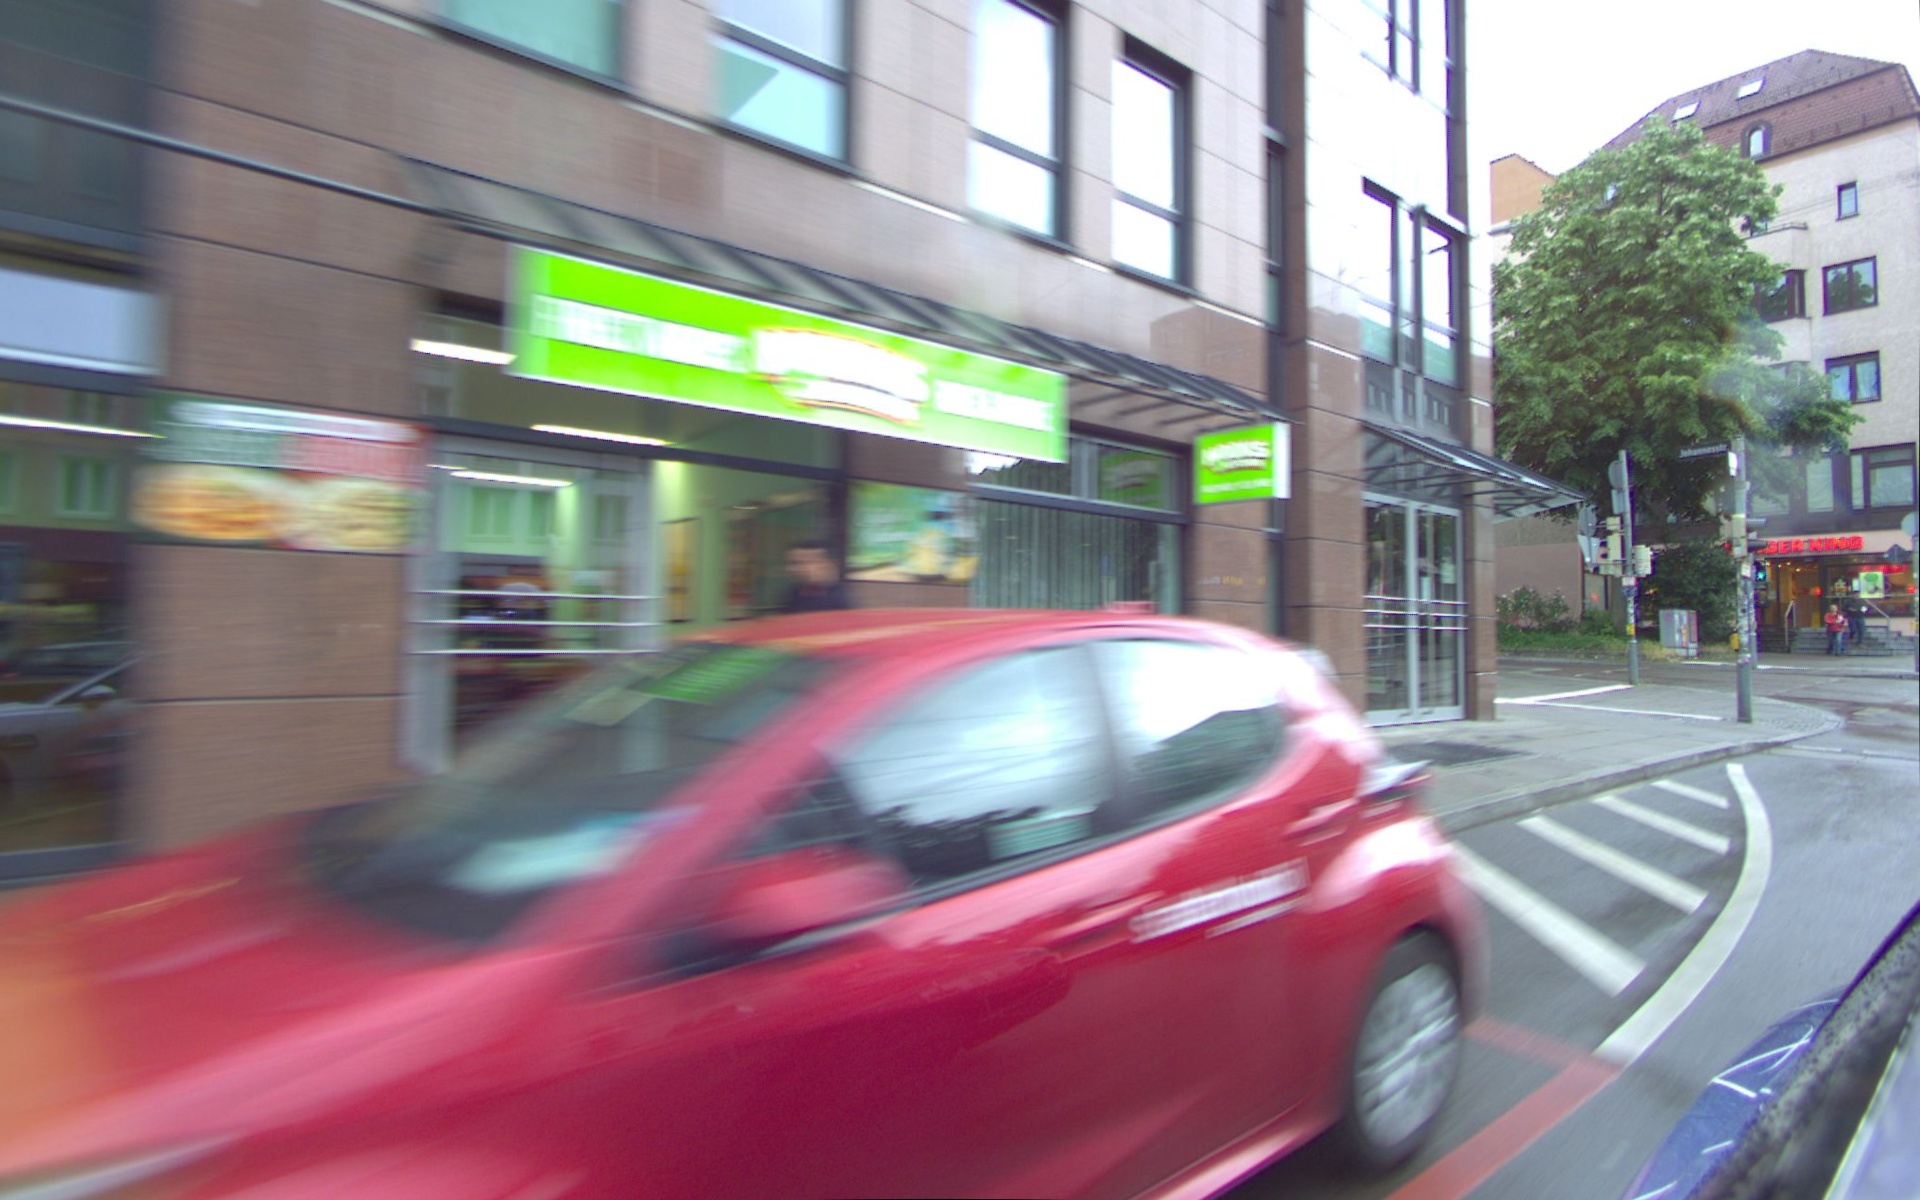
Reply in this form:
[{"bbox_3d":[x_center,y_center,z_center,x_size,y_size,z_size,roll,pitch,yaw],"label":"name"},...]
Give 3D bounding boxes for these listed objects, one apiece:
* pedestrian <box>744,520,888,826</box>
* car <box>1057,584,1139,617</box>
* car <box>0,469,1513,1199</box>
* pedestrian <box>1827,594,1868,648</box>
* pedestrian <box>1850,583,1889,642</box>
[{"bbox_3d":[-0.854,0.398,5.983,0.614,1.680,0.603,0,-1,-38],"label":"pedestrian"},{"bbox_3d":[6.473,0.037,47.399,3.802,1.480,1.676,0,-1,-40],"label":"car"},{"bbox_3d":[-0.441,0.595,2.431,3.795,1.498,1.703,0,1,-37],"label":"car"},{"bbox_3d":[27.917,0.658,31.852,0.614,1.670,0.725,-1,-1,2],"label":"pedestrian"},{"bbox_3d":[28.882,0.404,32.133,0.585,1.843,0.667,-1,-1,2],"label":"pedestrian"}]
